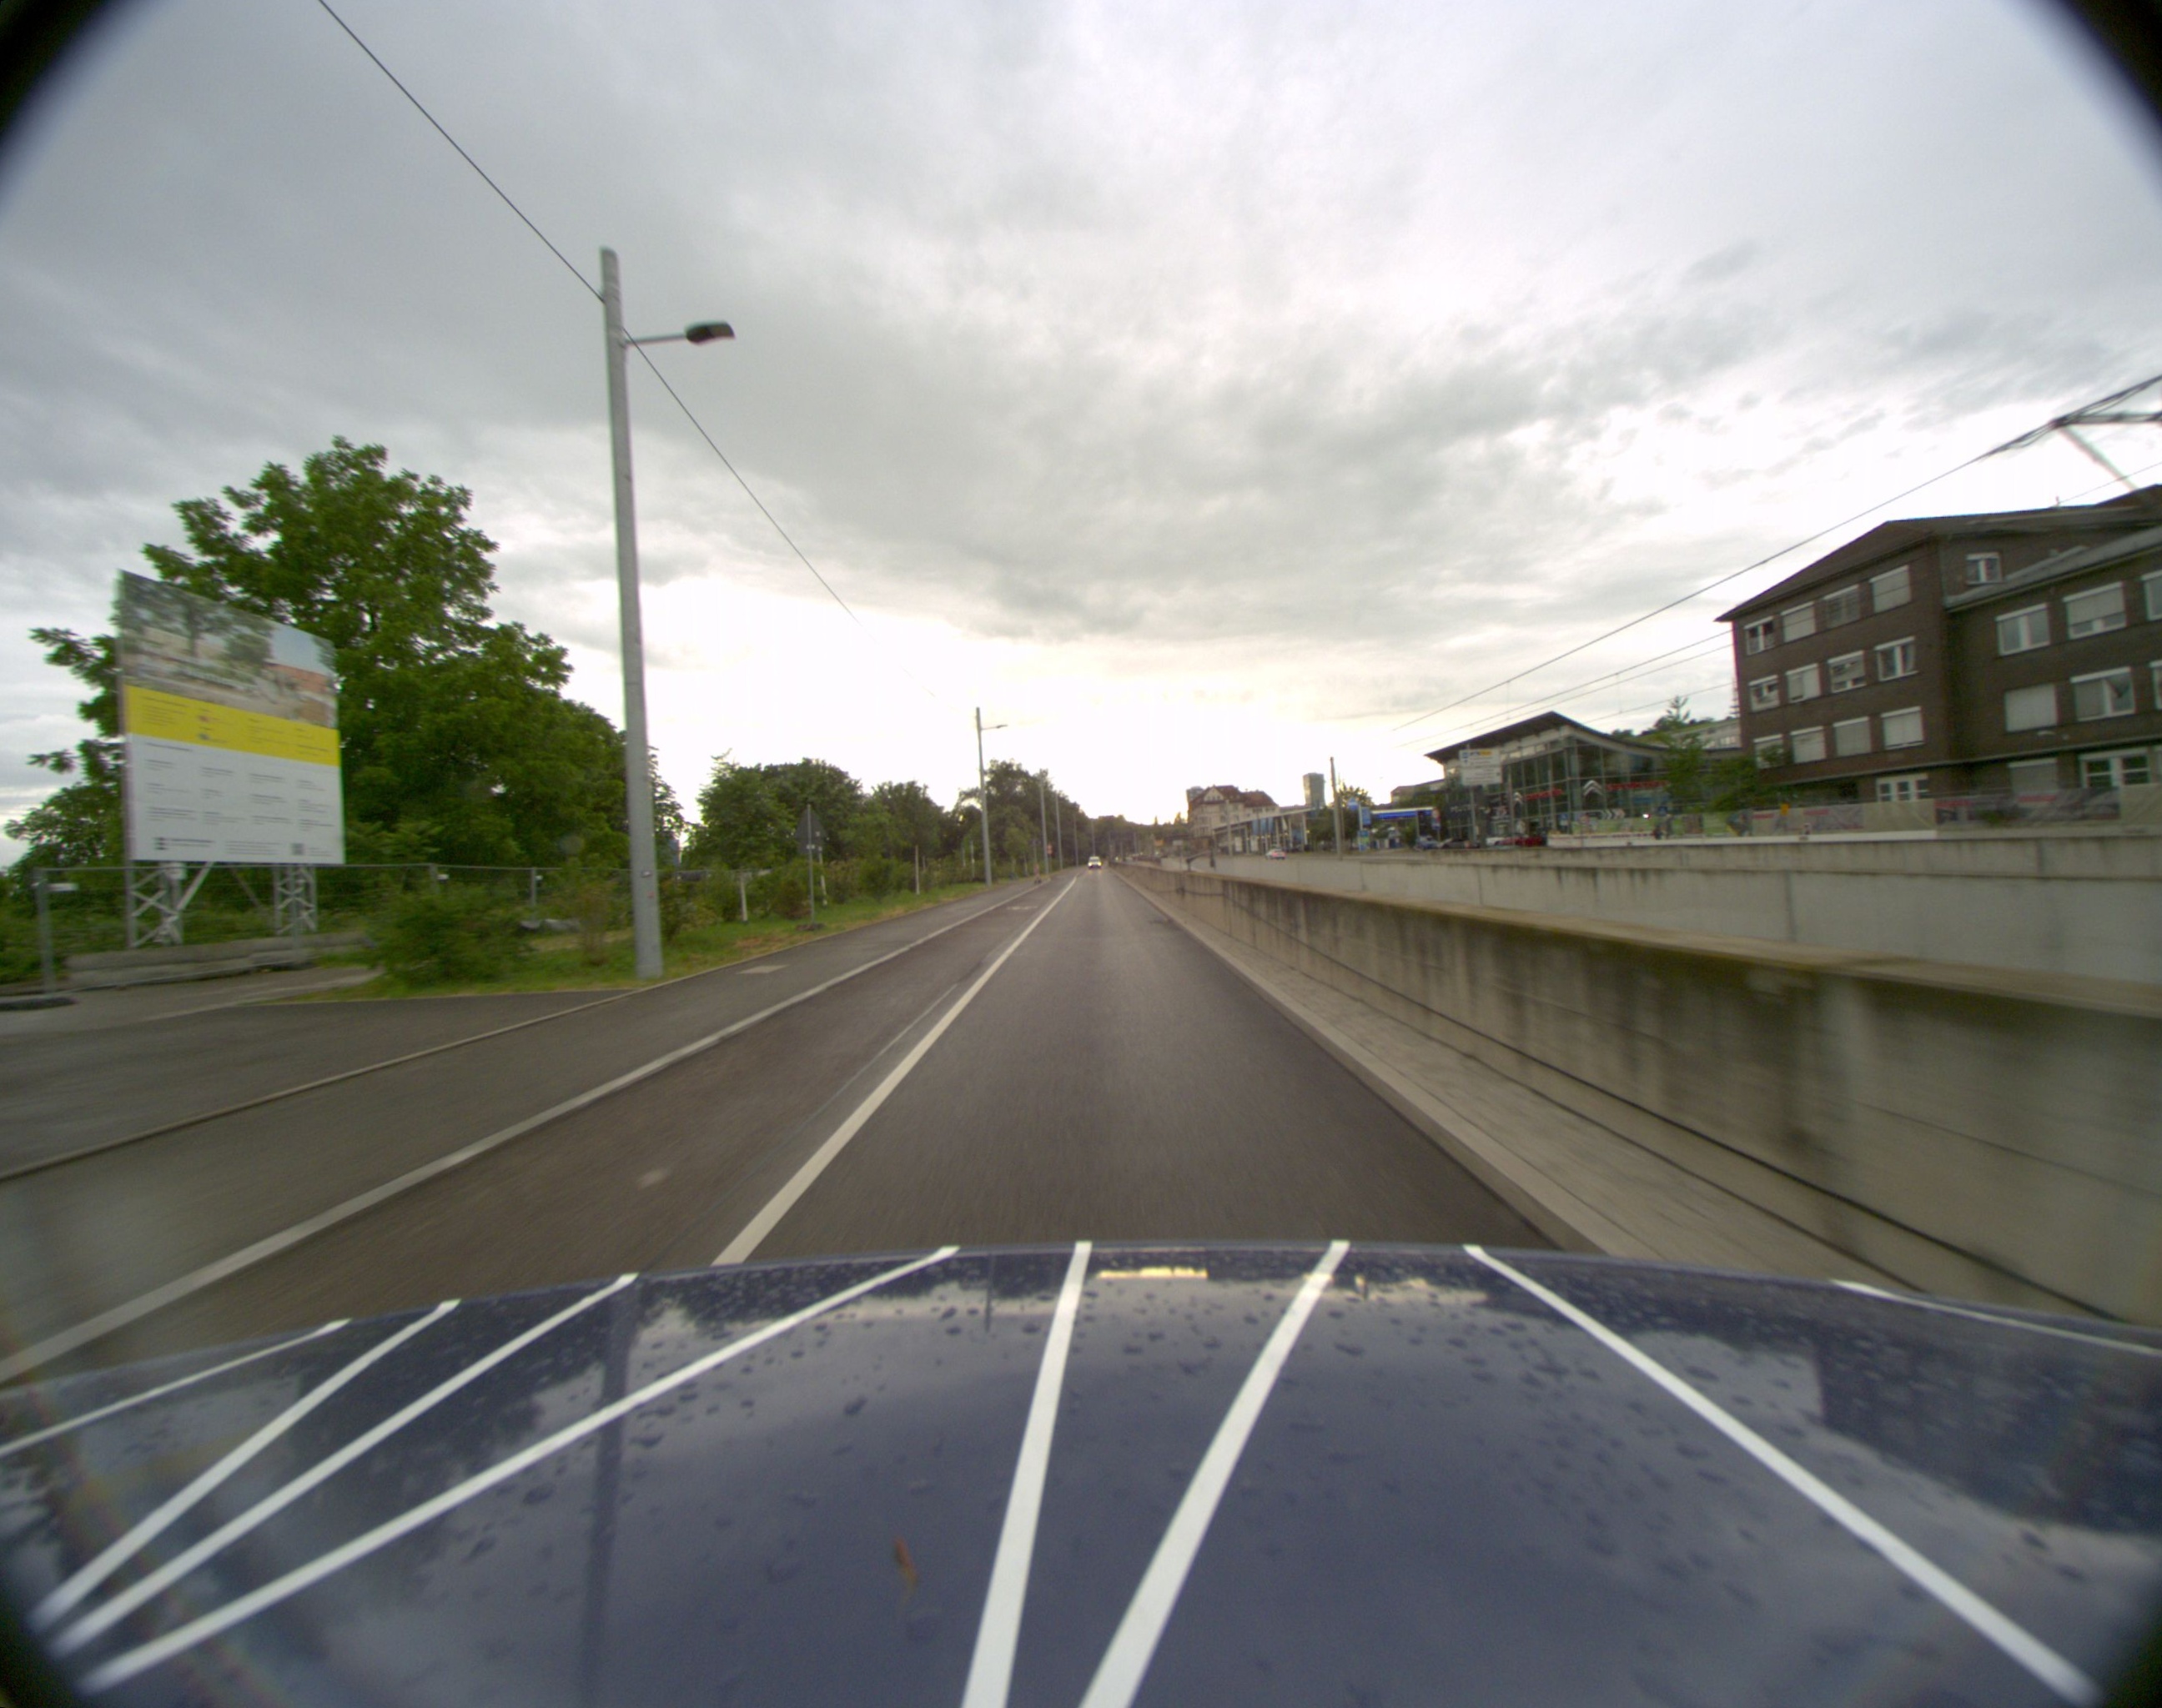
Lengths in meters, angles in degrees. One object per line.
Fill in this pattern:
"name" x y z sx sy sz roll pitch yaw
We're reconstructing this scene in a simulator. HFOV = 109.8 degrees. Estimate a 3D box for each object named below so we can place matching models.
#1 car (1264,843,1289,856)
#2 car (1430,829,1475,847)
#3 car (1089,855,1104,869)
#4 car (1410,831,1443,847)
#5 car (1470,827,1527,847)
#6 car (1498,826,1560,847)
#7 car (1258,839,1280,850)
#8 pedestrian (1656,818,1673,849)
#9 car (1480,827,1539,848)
"car" 27.747 -0.658 107.959 2.119 1.706 4.579 -3 0 -1
"car" 41.490 -1.800 84.847 3.997 1.761 2.000 -3 0 1
"car" 2.256 1.173 111.290 1.998 2.002 4.000 -2 0 1
"car" 40.636 -1.724 89.481 1.999 1.761 4.000 -3 0 -1
"car" 42.291 -1.723 76.992 4.576 1.750 2.000 -3 0 0
"car" 42.286 -1.648 71.804 4.576 1.750 2.000 -3 0 0
"car" 39.590 -1.993 159.996 3.996 2.002 2.000 -3 0 2
"pedestrian" 38.301 -1.358 49.850 0.581 2.002 0.728 -3 1 -36
"car" 41.989 -1.587 74.437 4.576 1.750 2.000 -3 0 0
